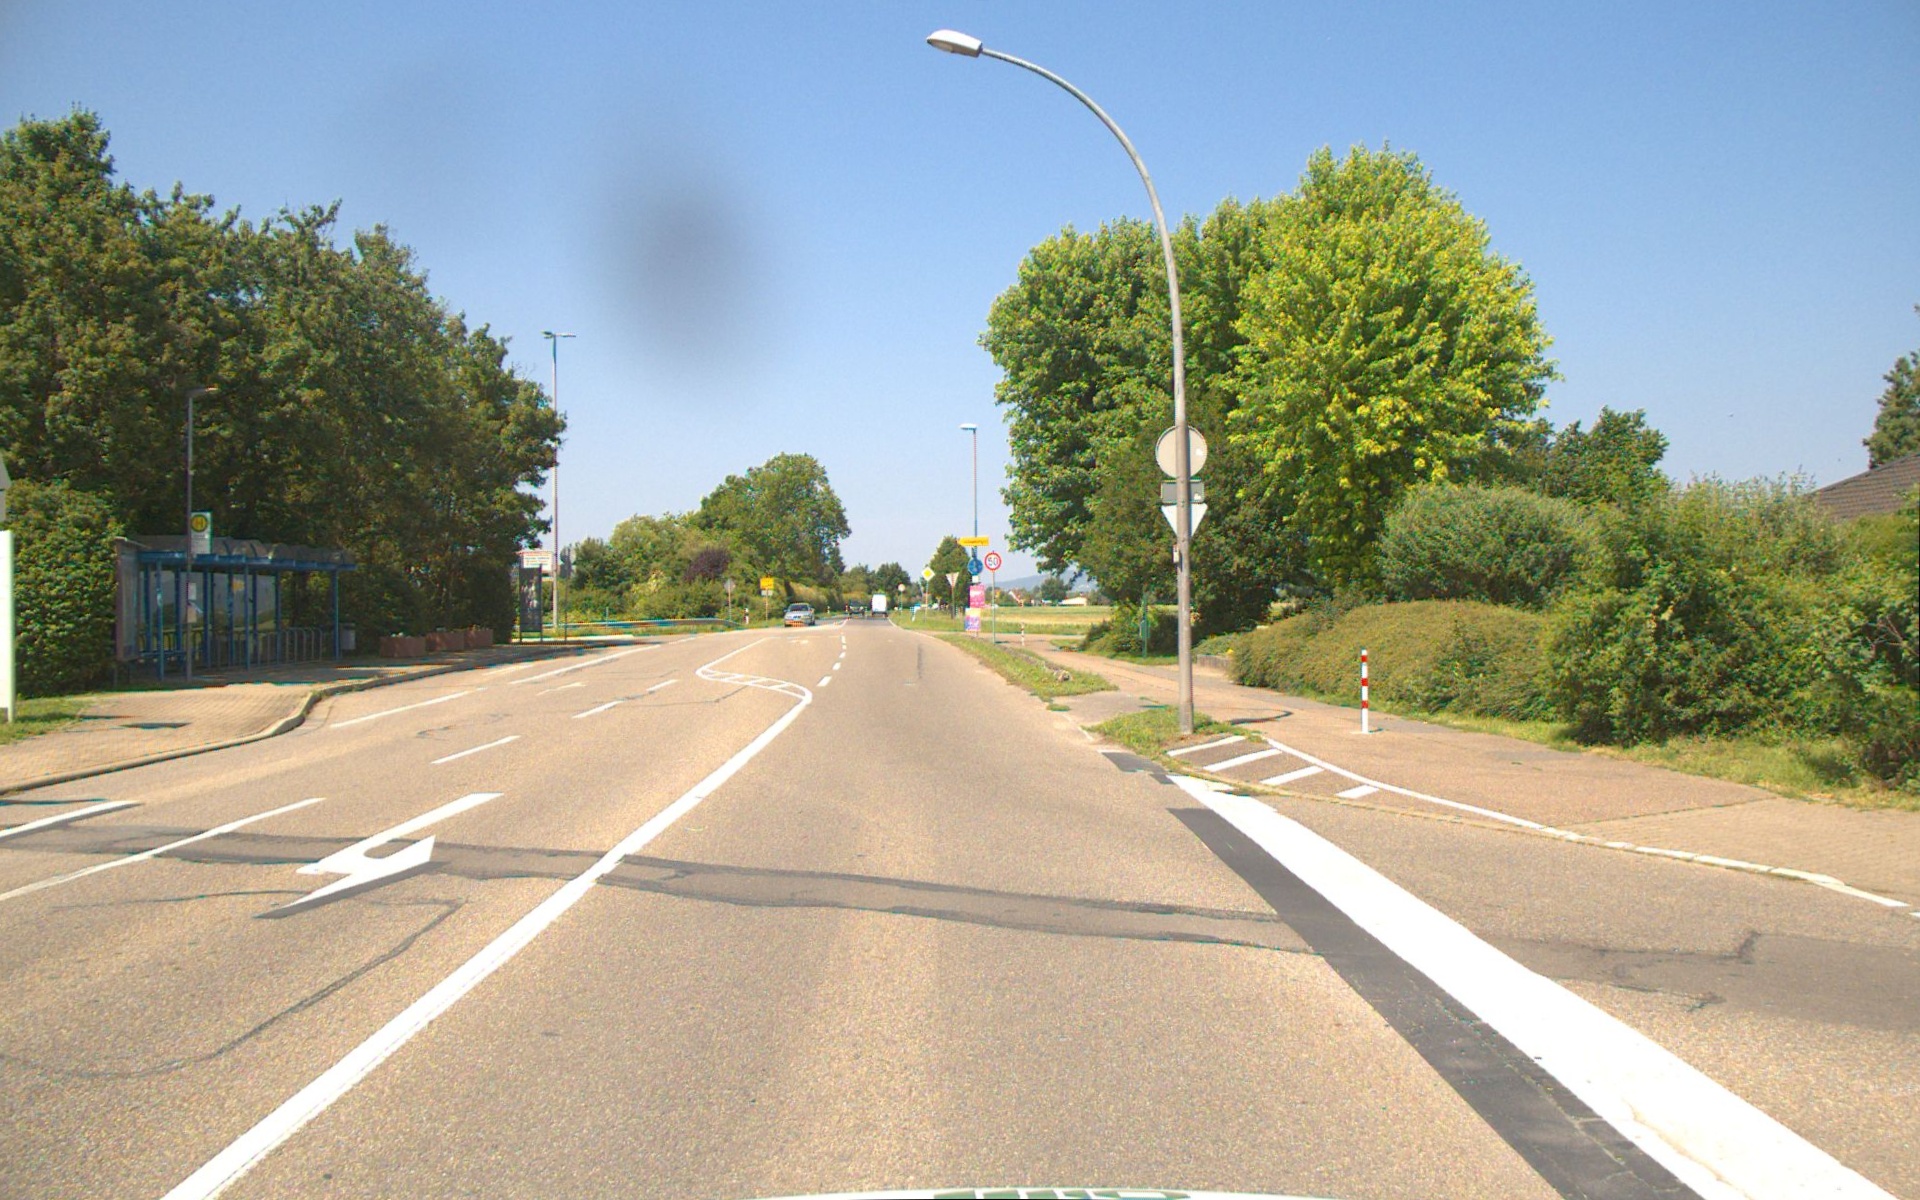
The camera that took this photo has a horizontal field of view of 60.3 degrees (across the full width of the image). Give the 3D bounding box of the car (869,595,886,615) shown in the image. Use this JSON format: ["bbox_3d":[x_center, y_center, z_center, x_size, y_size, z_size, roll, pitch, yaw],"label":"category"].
[{"bbox_3d":[-10.944,0.674,218.898,1.956,2.698,3.994,-1,0,-7],"label":"car"}]

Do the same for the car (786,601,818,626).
[{"bbox_3d":[-9.943,0.826,104.413,1.602,1.496,4.415,-1,0,0],"label":"car"}]

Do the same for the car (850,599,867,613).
[{"bbox_3d":[-13.821,0.820,224.891,2.101,1.985,5.245,0,0,-1],"label":"car"}]
